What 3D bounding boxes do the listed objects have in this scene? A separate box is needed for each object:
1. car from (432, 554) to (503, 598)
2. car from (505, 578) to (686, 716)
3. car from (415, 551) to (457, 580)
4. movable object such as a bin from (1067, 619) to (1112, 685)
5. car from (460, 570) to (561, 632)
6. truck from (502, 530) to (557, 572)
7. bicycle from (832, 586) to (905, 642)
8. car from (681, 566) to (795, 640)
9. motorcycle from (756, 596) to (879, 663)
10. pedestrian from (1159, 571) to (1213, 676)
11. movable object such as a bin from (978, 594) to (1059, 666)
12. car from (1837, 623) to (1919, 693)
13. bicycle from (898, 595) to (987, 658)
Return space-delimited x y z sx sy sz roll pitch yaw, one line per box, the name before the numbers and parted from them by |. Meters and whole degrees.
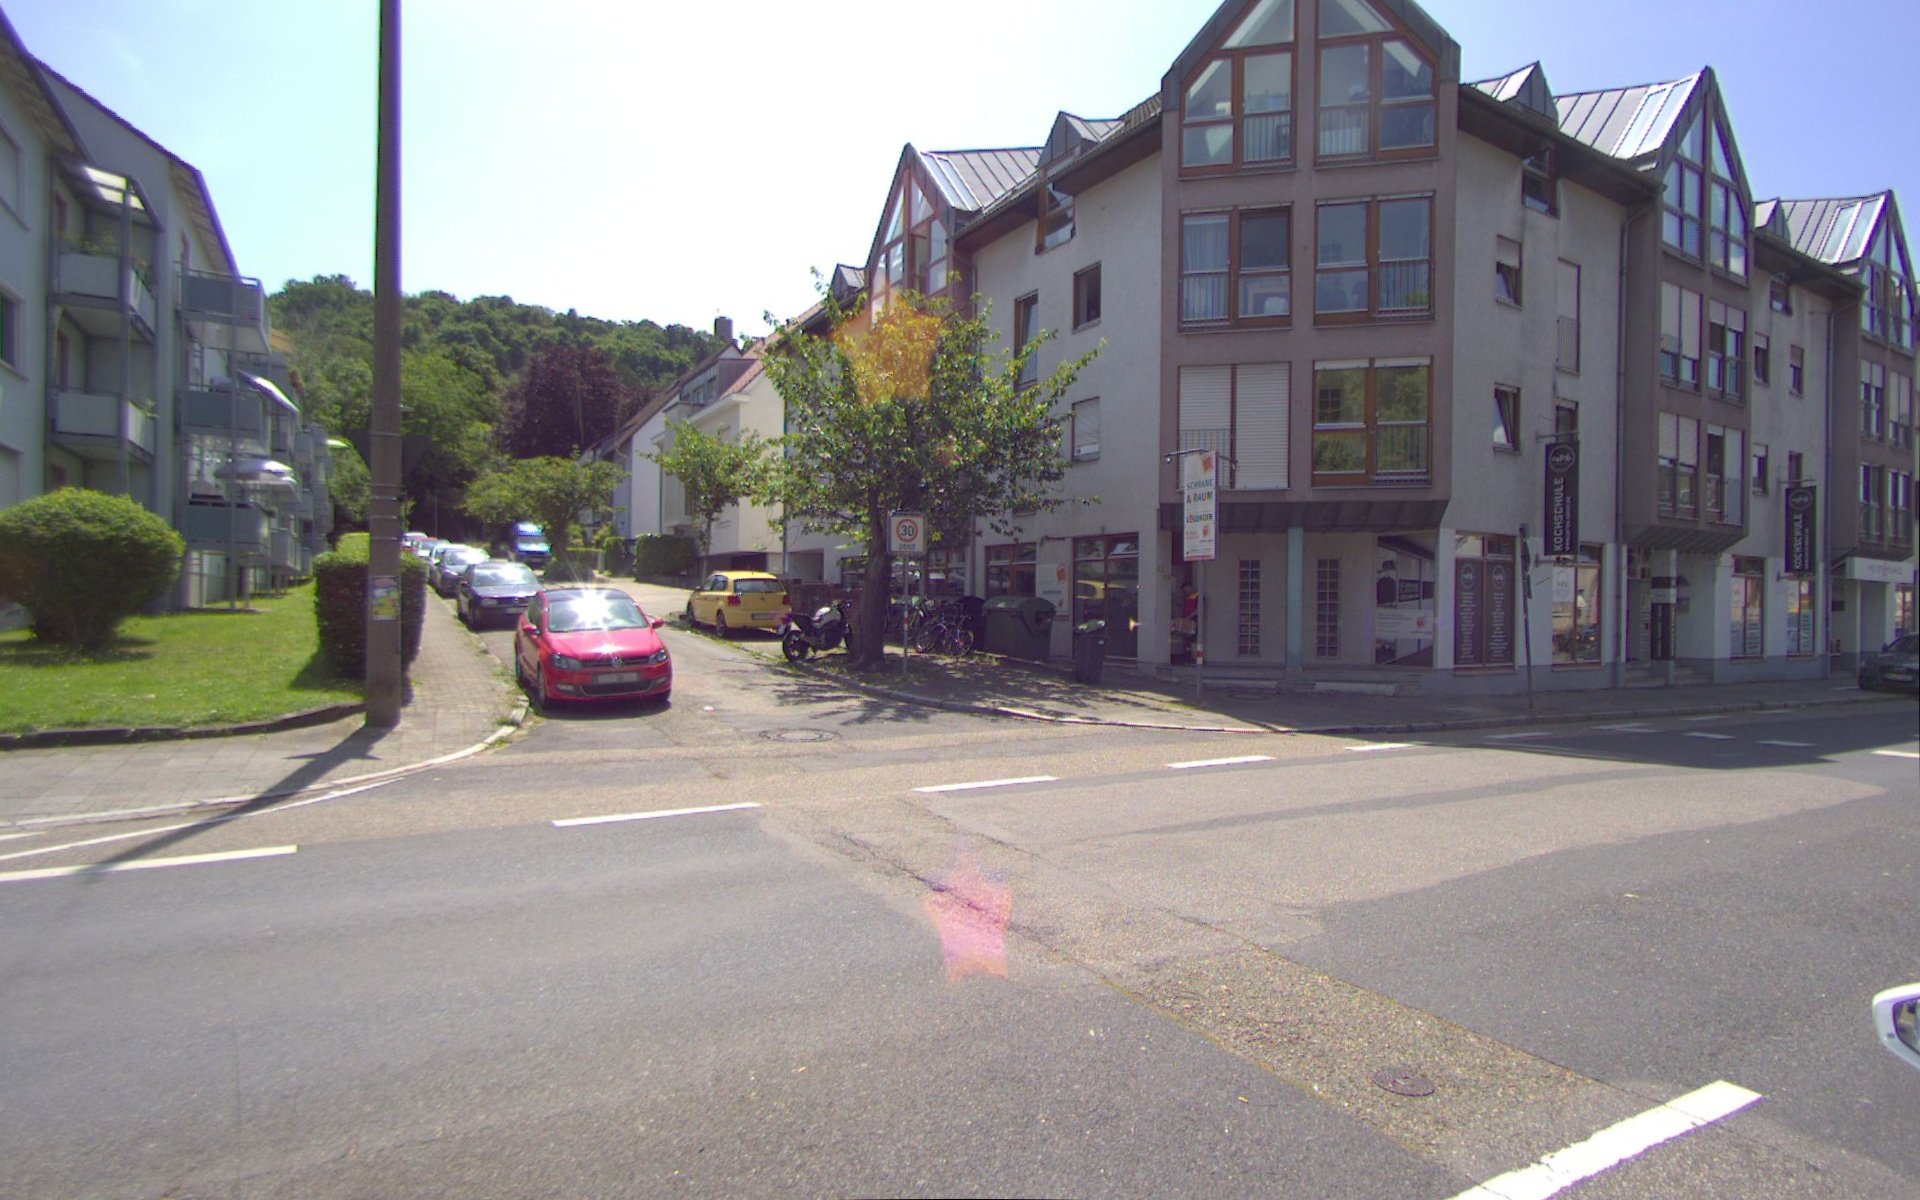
car | -16.016 -0.825 32.573 1.713 1.247 3.758 -2 5 -31
car | -5.301 0.532 14.284 1.713 1.471 3.965 0 4 -31
car | -25.206 -1.698 48.276 1.542 1.247 3.758 -2 5 -31
movable object such as a bin | 2.276 0.902 17.649 0.660 1.111 0.633 1 -1 20
car | -10.677 -0.033 23.743 1.713 1.167 3.758 -2 5 -31
truck | -23.721 -2.746 55.234 2.081 2.063 5.397 1 3 -30
bicycle | -2.164 0.328 23.472 0.749 1.251 2.243 1 -1 -33
car | -5.429 0.001 24.272 1.636 1.433 3.759 -2 6 -30
motorcycle | -2.746 0.538 19.600 0.915 1.049 2.376 5 6 40
pedestrian | 4.478 0.458 19.916 0.831 2.040 0.593 1 1 -37
movable object such as a bin | 1.174 0.592 20.283 1.076 1.385 1.265 1 1 -35
car | 23.293 1.381 24.083 4.908 1.467 1.831 2 2 -29
bicycle | -0.399 0.532 20.840 0.749 1.251 2.243 1 -1 -33
